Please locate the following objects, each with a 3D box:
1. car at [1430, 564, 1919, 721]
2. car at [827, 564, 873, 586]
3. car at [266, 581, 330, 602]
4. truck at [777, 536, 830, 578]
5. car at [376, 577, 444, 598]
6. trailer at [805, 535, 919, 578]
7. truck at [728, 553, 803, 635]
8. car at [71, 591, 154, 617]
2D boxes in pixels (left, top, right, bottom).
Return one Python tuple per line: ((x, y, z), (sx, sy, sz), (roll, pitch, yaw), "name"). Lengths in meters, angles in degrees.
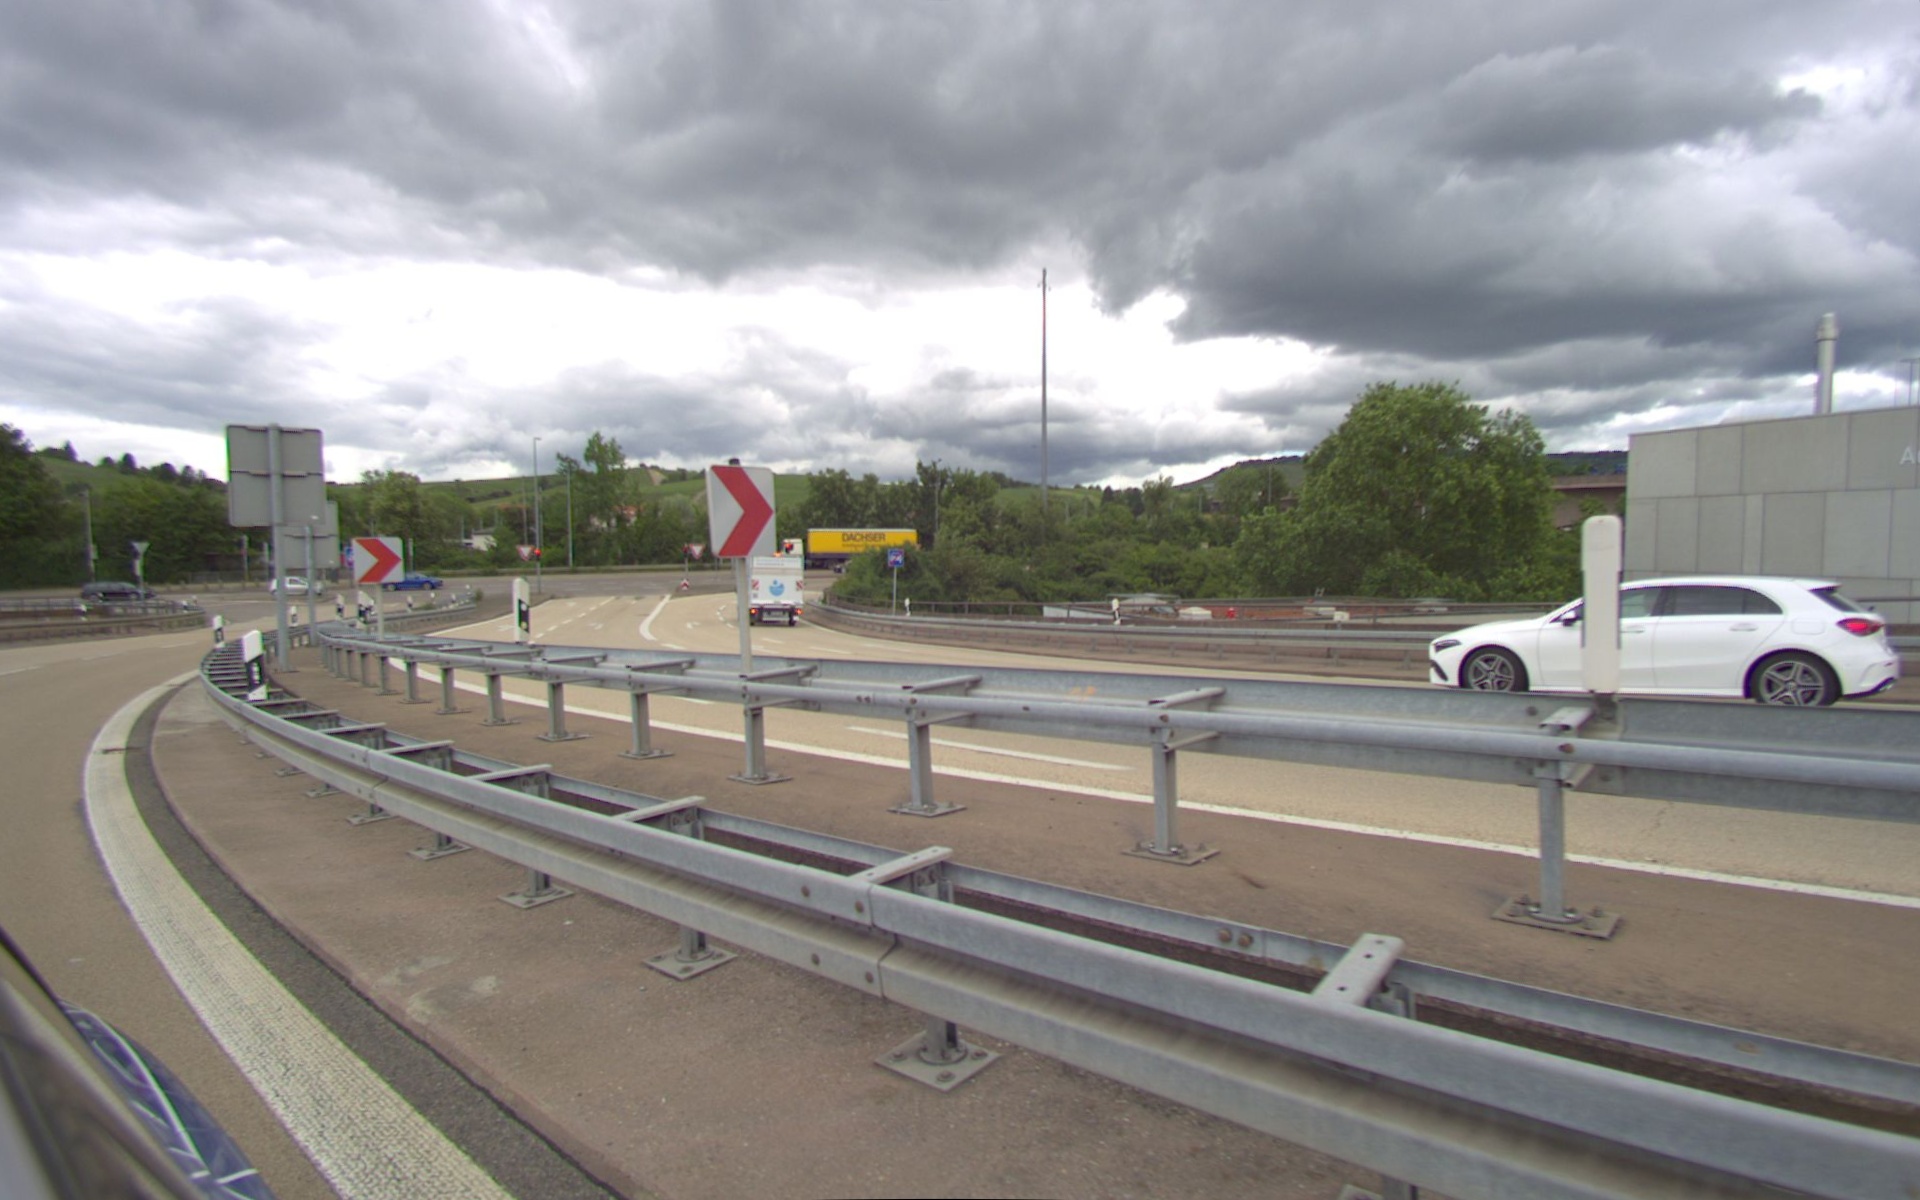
((7.877, 0.452, 11.336), (4.366, 1.425, 1.889), (-2, -2, 44), "car")
((-10.612, -2.441, 97.595), (4.056, 1.673, 1.634), (-5, 6, -15), "car")
((-50.515, -0.662, 77.275), (3.687, 1.384, 1.633), (-3, 4, -13), "car")
((-16.036, -4.422, 103.451), (5.017, 4.235, 2.643), (-2, 3, -13), "truck")
((-44.276, -1.028, 81.512), (4.468, 1.464, 1.614), (-2, 4, -12), "car")
((-10.157, -4.555, 104.806), (11.462, 4.235, 2.643), (-2, 3, -13), "trailer")
((-8.651, -0.365, 44.505), (2.312, 3.287, 7.017), (-1, 2, -18), "truck")
((-62.842, 0.278, 75.092), (4.223, 1.567, 1.954), (-3, 4, -15), "car")
